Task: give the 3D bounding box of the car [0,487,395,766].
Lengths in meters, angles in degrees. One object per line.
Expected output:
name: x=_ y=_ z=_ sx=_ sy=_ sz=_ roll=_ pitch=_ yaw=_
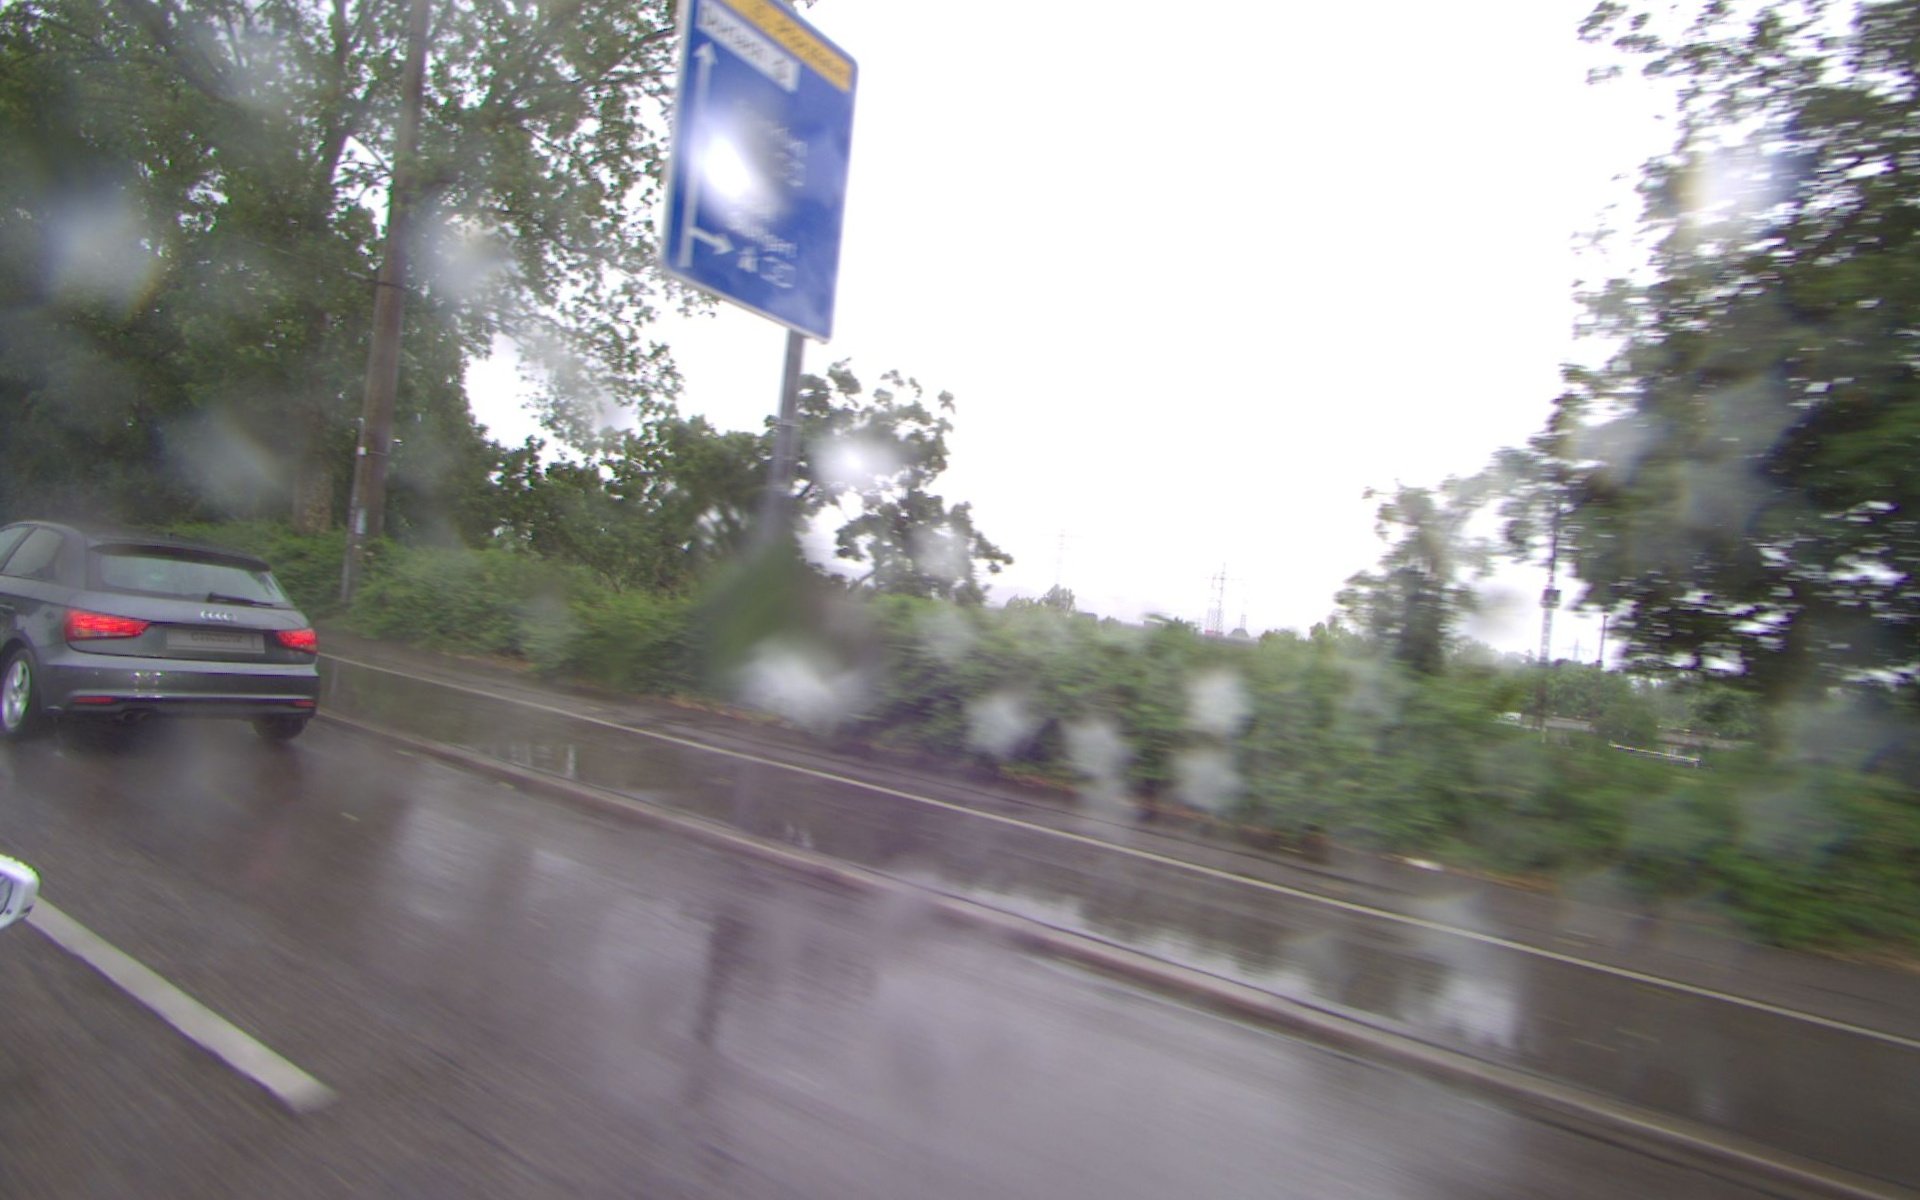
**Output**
car: x=-6.428 y=0.050 z=7.534 sx=3.923 sy=1.546 sz=1.972 roll=8 pitch=-1 yaw=30
